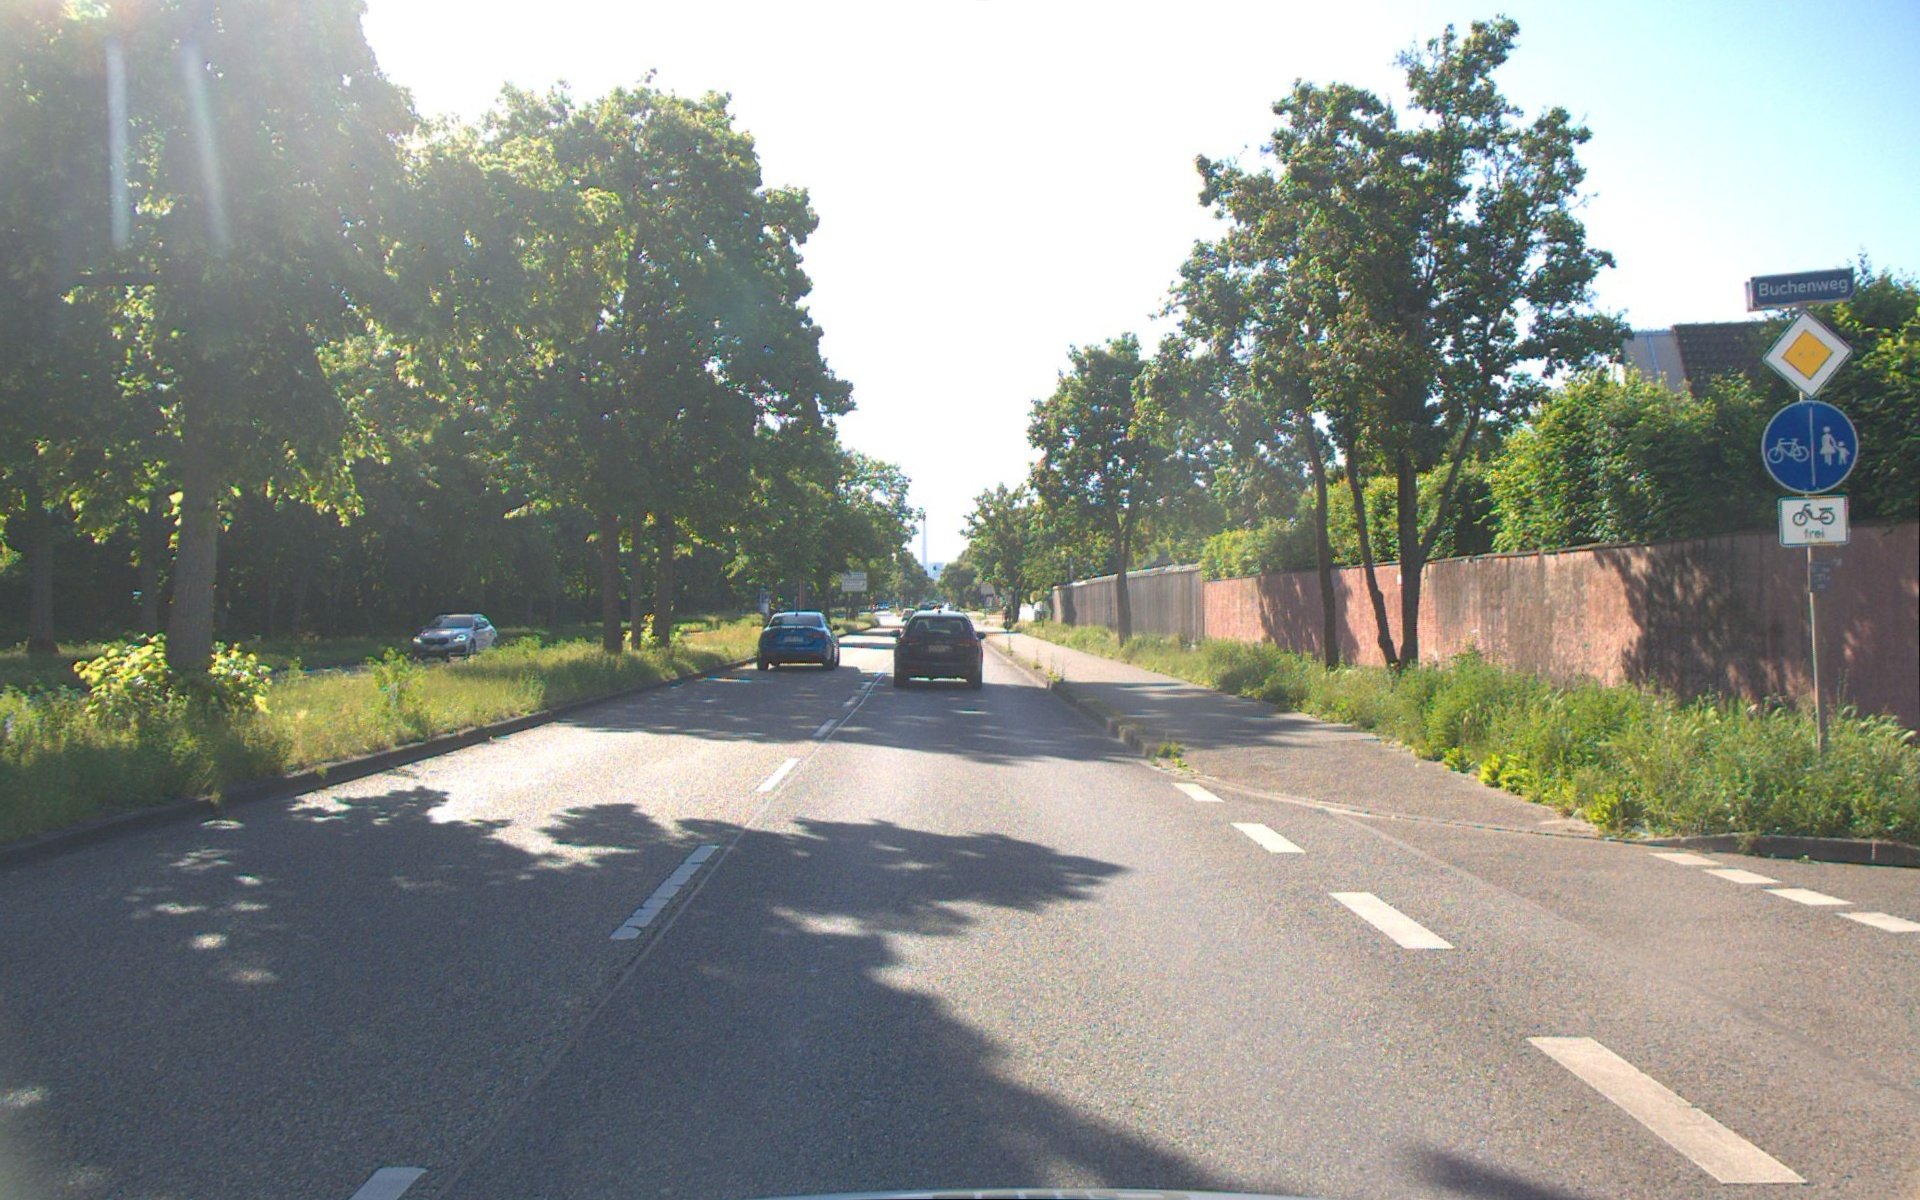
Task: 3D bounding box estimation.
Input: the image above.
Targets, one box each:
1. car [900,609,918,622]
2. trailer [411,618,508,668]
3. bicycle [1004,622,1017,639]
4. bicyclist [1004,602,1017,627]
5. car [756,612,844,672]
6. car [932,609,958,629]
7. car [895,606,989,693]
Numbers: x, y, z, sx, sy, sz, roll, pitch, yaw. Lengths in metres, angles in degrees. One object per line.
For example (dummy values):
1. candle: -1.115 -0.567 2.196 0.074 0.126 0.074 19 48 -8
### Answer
1. car: -5.922 1.775 191.178 1.939 1.465 3.996 0 0 -5
2. trailer: -15.793 1.320 52.435 1.705 1.449 4.495 -2 0 0
3. bicycle: 2.883 1.736 94.692 0.642 0.908 1.874 0 0 -1
4. bicyclist: 2.889 0.817 94.744 0.666 1.443 0.812 0 -1 -1
5. car: -3.974 1.023 41.547 1.954 1.429 3.998 0 0 -2
6. car: -1.176 1.464 128.771 1.938 1.465 3.999 0 0 -2
7. car: -0.334 0.957 33.221 1.724 1.586 4.000 2 -1 0
